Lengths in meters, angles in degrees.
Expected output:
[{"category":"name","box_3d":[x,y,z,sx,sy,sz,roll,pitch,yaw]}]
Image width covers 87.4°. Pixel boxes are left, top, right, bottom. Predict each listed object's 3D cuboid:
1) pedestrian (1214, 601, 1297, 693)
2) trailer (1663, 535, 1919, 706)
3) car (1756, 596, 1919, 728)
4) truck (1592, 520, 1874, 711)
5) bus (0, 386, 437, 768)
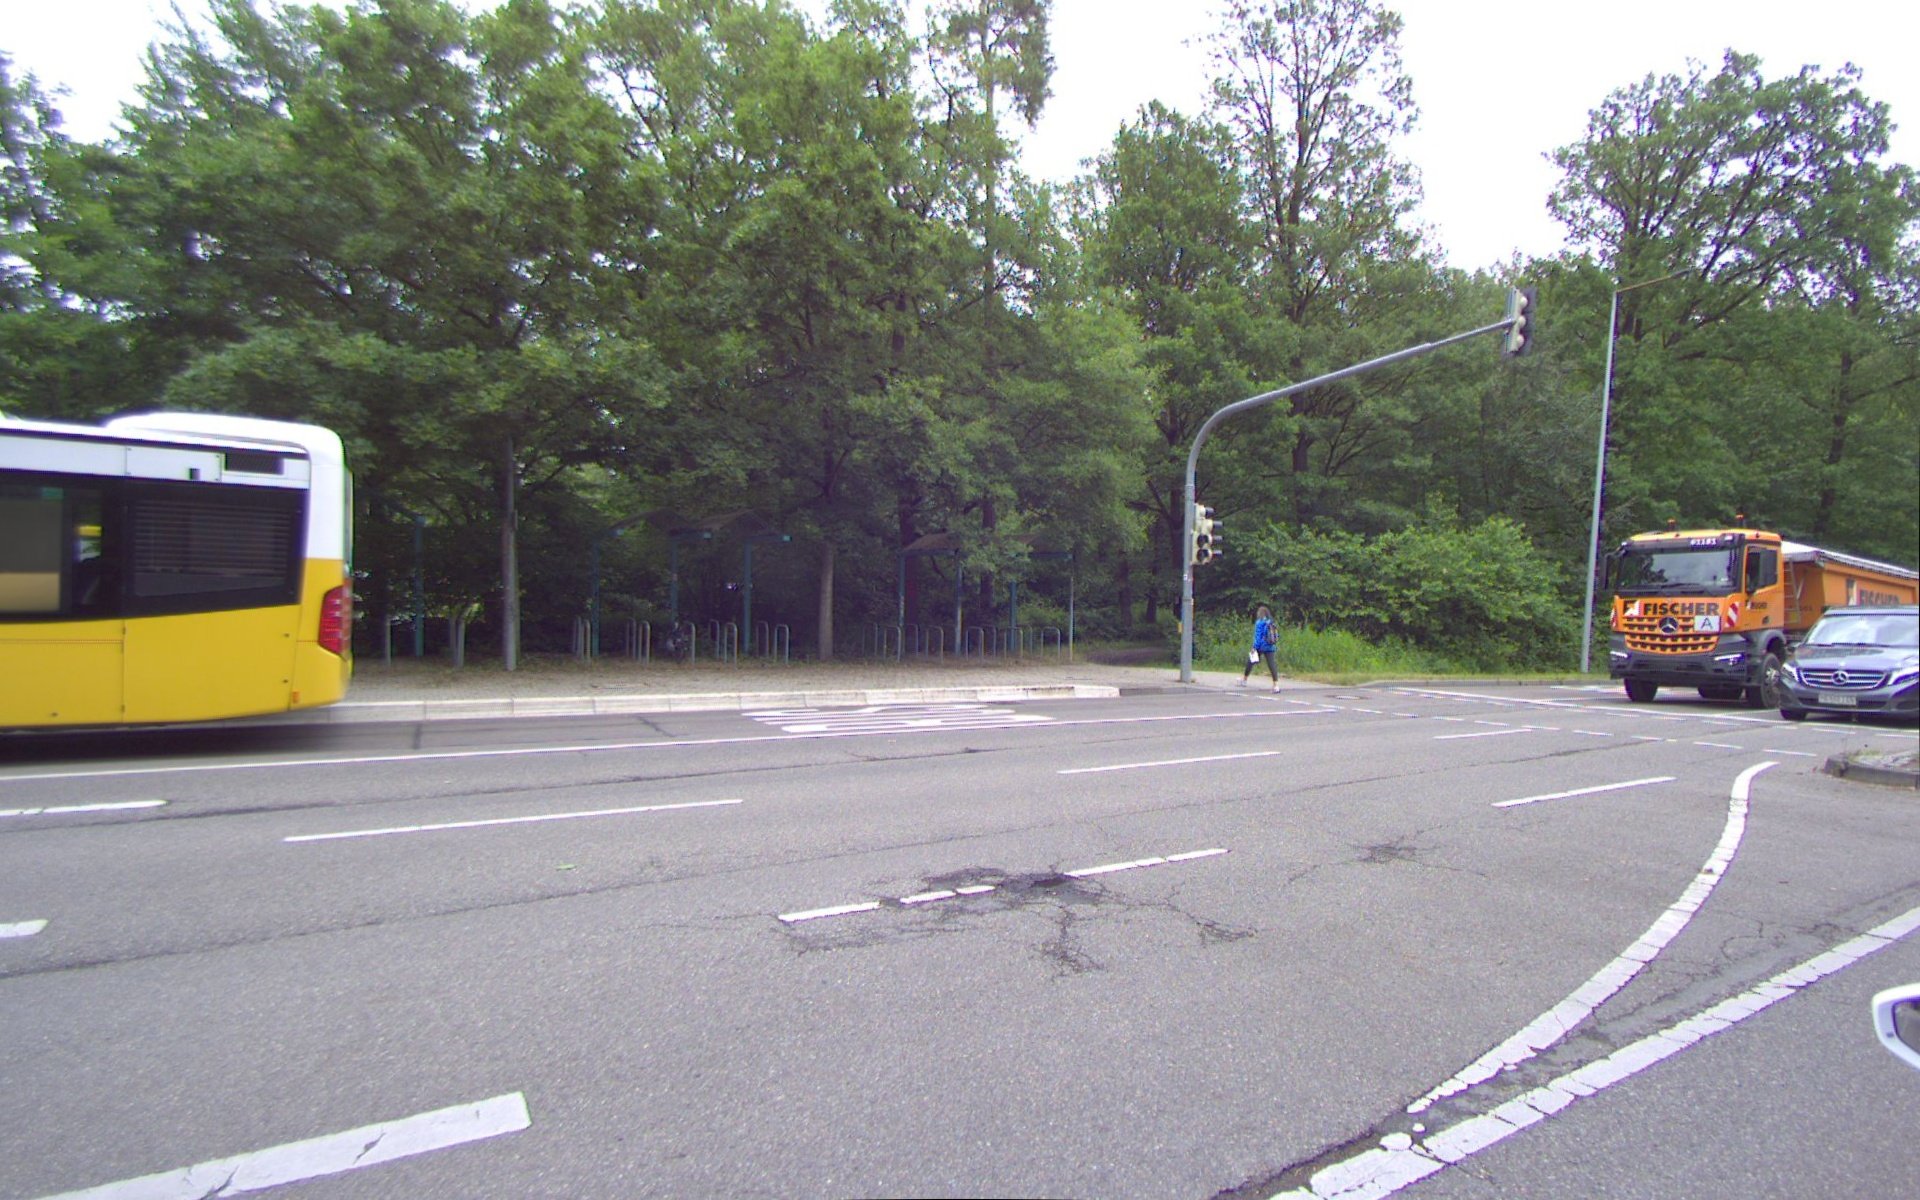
[{"category":"pedestrian","box_3d":[5.769,0.898,19.657,1.055,1.671,1.043,0,4,-26]},{"category":"trailer","box_3d":[19.651,0.583,23.378,8.486,3.362,2.720,3,-2,-36]},{"category":"car","box_3d":[15.433,0.996,16.826,4.789,1.918,1.981,2,-2,-34]},{"category":"truck","box_3d":[16.242,0.418,20.926,7.090,3.362,2.720,3,-2,-36]},{"category":"bus","box_3d":[-9.623,-0.222,9.032,8.592,3.168,2.885,1,0,-30]}]
